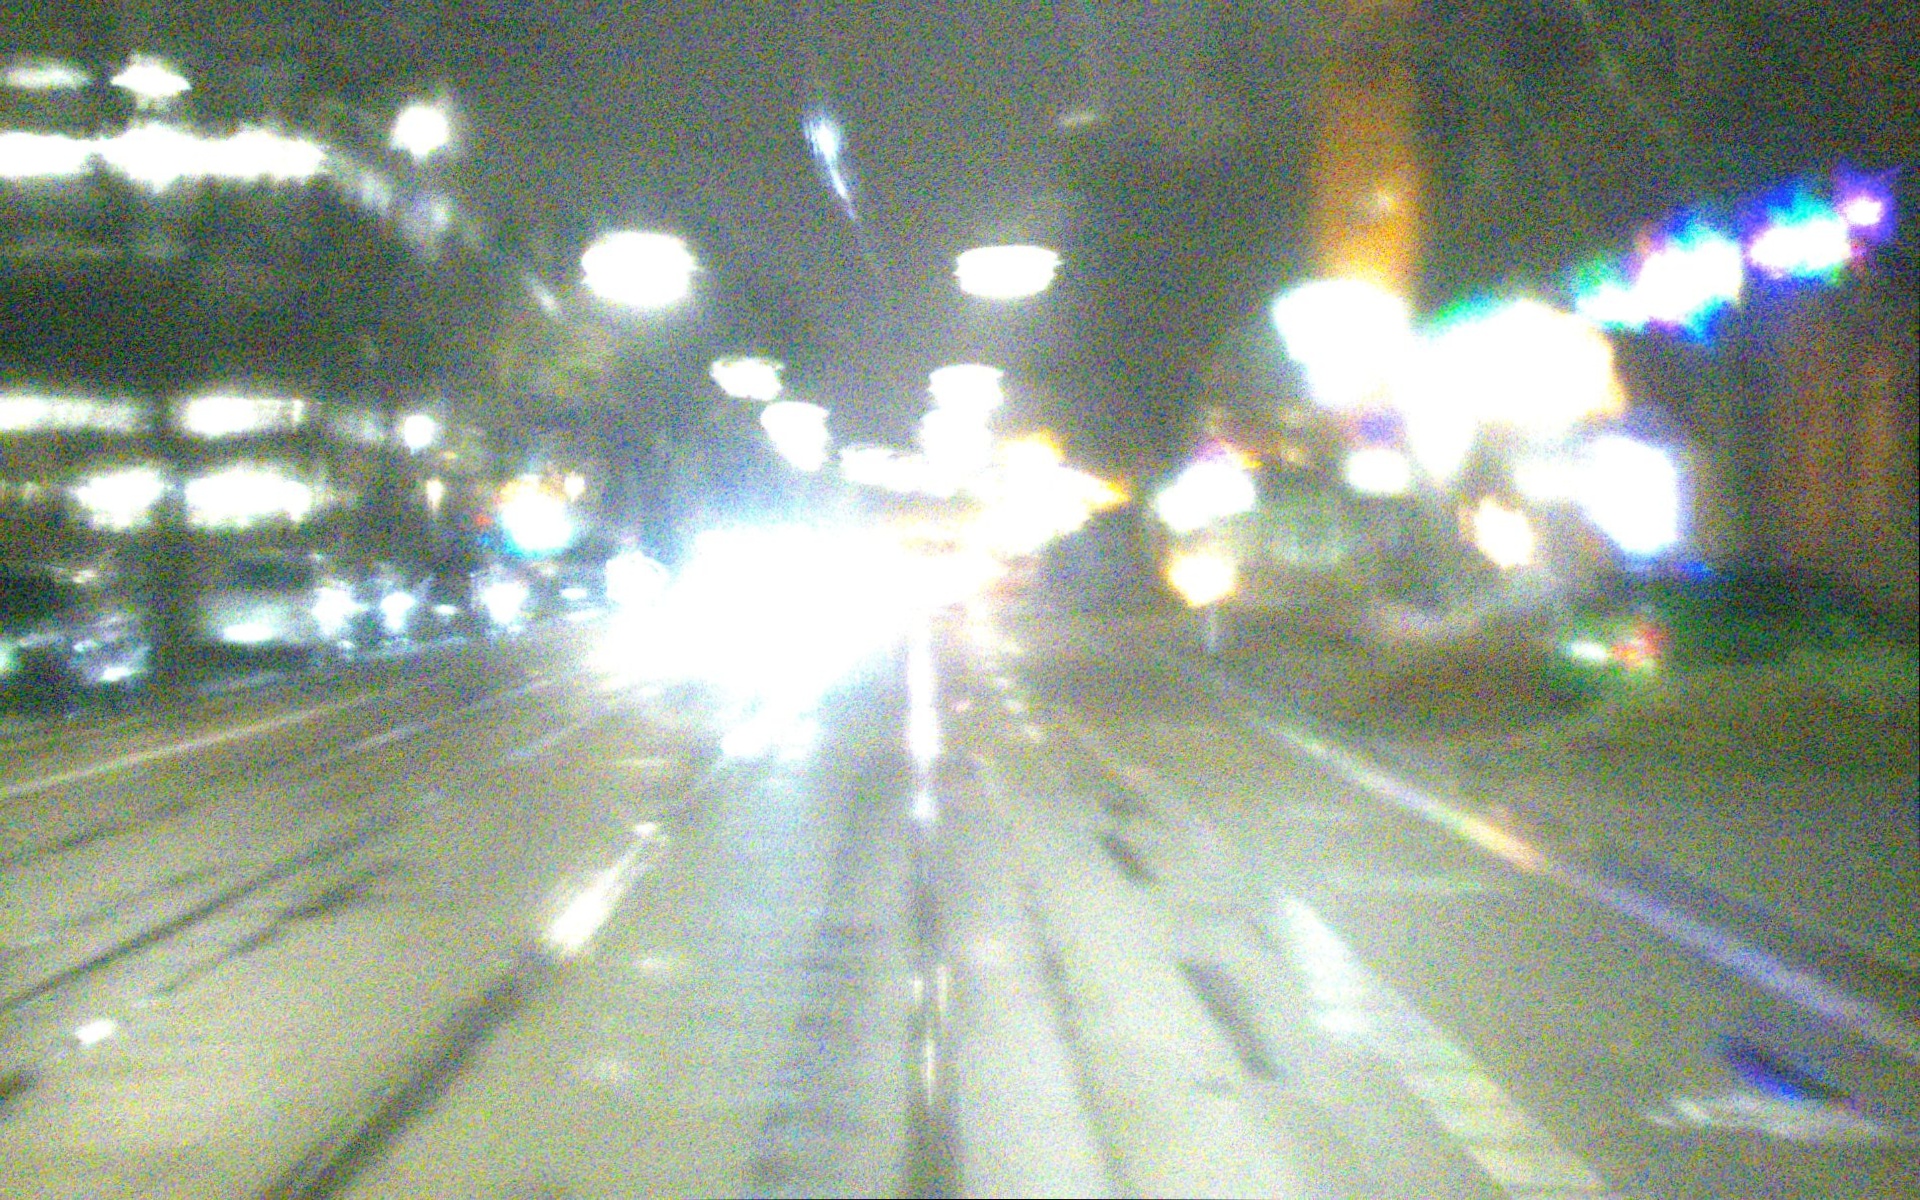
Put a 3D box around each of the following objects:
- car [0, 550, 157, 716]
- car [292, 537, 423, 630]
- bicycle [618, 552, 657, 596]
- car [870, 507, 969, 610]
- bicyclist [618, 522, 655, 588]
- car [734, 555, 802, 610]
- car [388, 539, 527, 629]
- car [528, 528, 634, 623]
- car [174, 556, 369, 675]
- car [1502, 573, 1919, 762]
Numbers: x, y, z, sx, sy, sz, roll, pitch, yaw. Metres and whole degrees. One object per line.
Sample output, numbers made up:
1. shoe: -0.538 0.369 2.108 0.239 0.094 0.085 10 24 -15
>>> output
1. car: -9.742 0.291 35.851 1.880 1.540 4.400 3 1 -4
2. car: -9.937 -0.302 56.906 1.690 1.417 3.915 -1 2 -4
3. bicycle: -8.215 -0.662 87.583 0.782 1.078 1.918 -2 1 0
4. car: -0.980 -0.975 80.635 2.244 2.353 4.394 0 1 -2
5. bicyclist: -8.235 -1.145 87.580 0.782 1.650 1.206 -2 1 0
6. car: -5.592 -0.526 100.500 1.776 1.512 4.051 0 1 0
7. car: -9.853 -0.344 67.783 1.969 1.650 4.601 2 1 1
8. car: -10.907 -0.750 99.351 2.185 2.582 6.392 0 2 1
9. car: -9.908 0.184 49.802 1.983 1.625 4.517 0 1 -1
10. car: 7.020 0.543 30.129 4.092 1.532 1.961 0 1 -26
